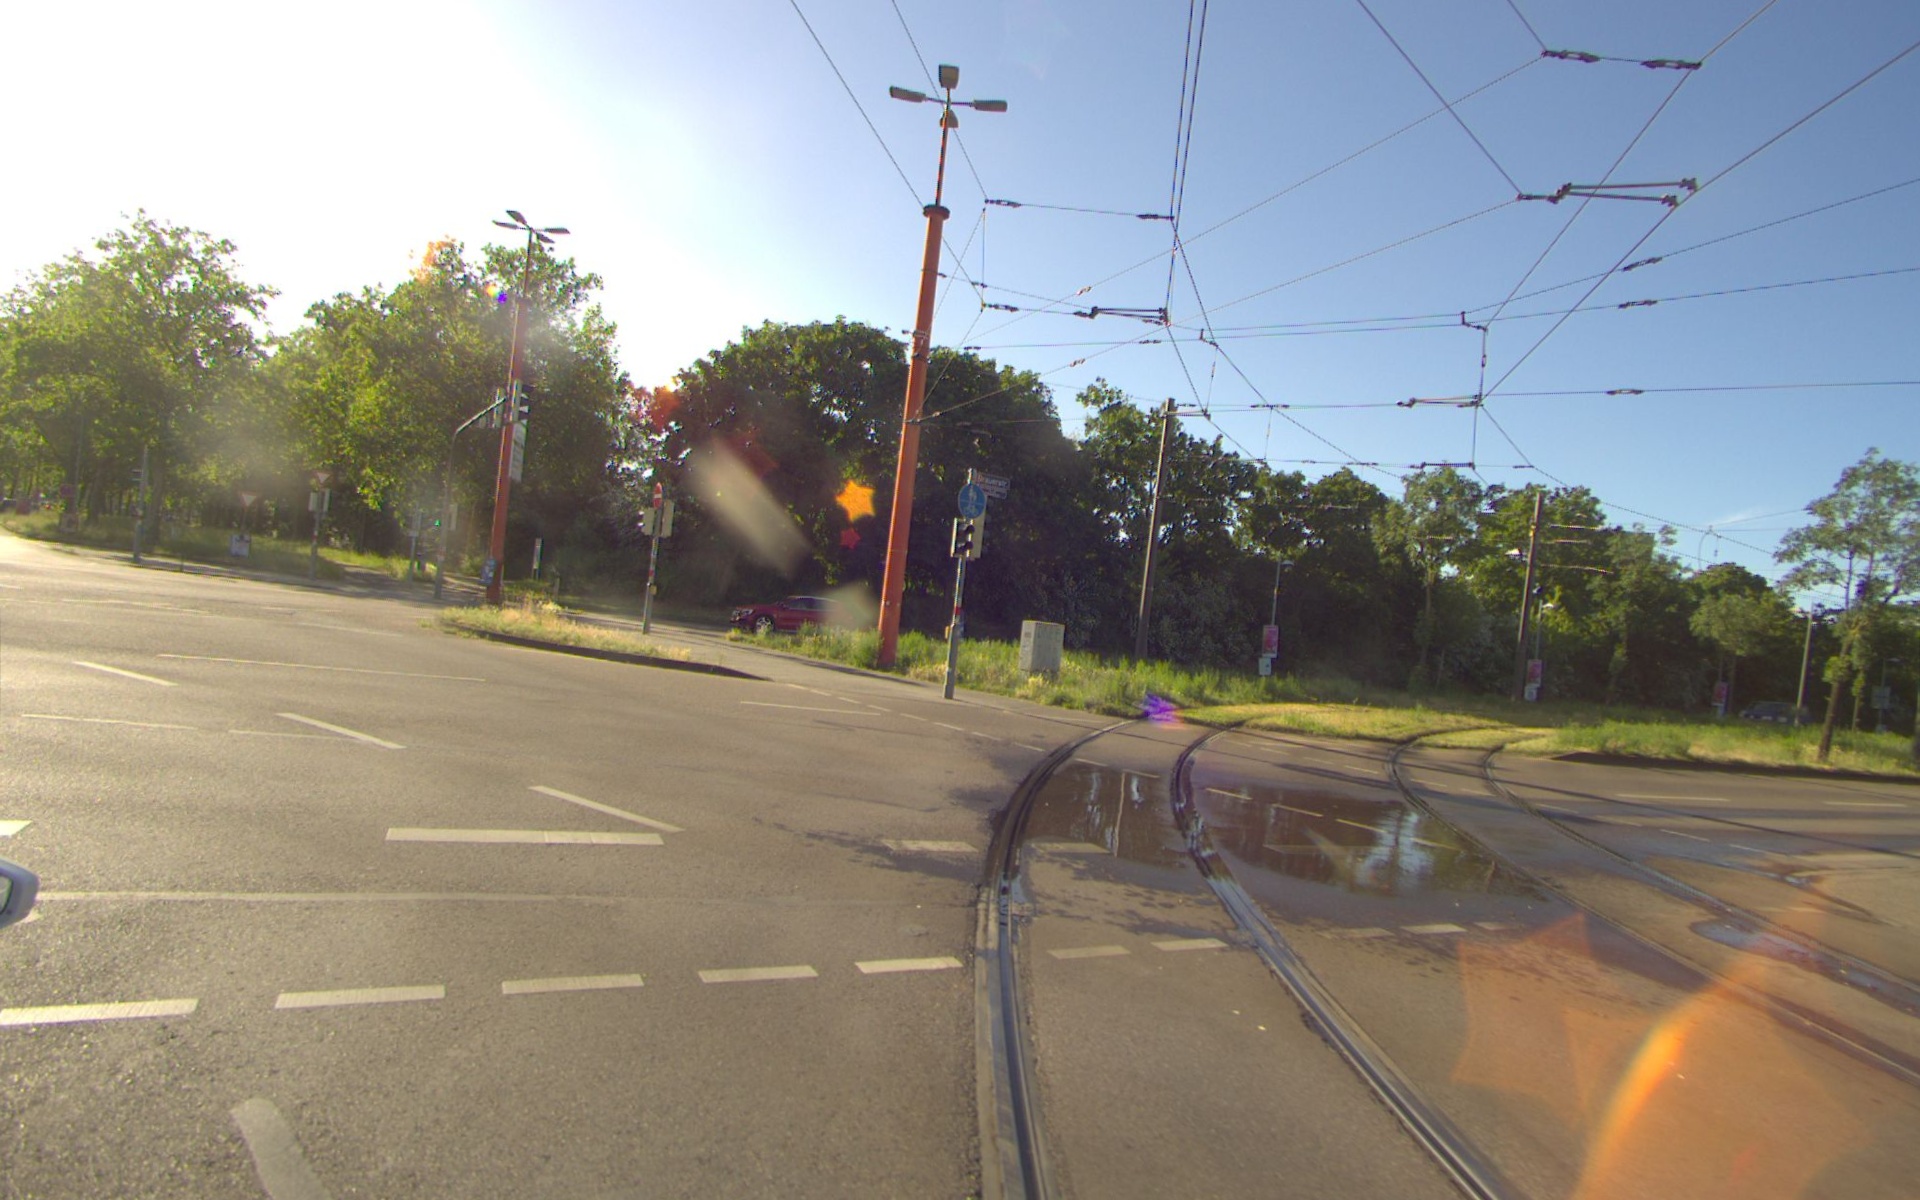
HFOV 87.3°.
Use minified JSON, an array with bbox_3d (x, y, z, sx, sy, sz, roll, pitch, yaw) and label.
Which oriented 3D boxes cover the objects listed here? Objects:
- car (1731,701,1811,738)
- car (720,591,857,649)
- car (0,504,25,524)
[{"bbox_3d":[50.965,7.489,63.182,4.759,1.753,1.987,7,-1,-26],"label":"car"},{"bbox_3d":[-6.021,0.705,35.304,4.237,1.513,1.988,7,-1,-26],"label":"car"},{"bbox_3d":[-98.956,-8.958,104.858,3.949,1.645,1.869,4,-3,44],"label":"car"}]
